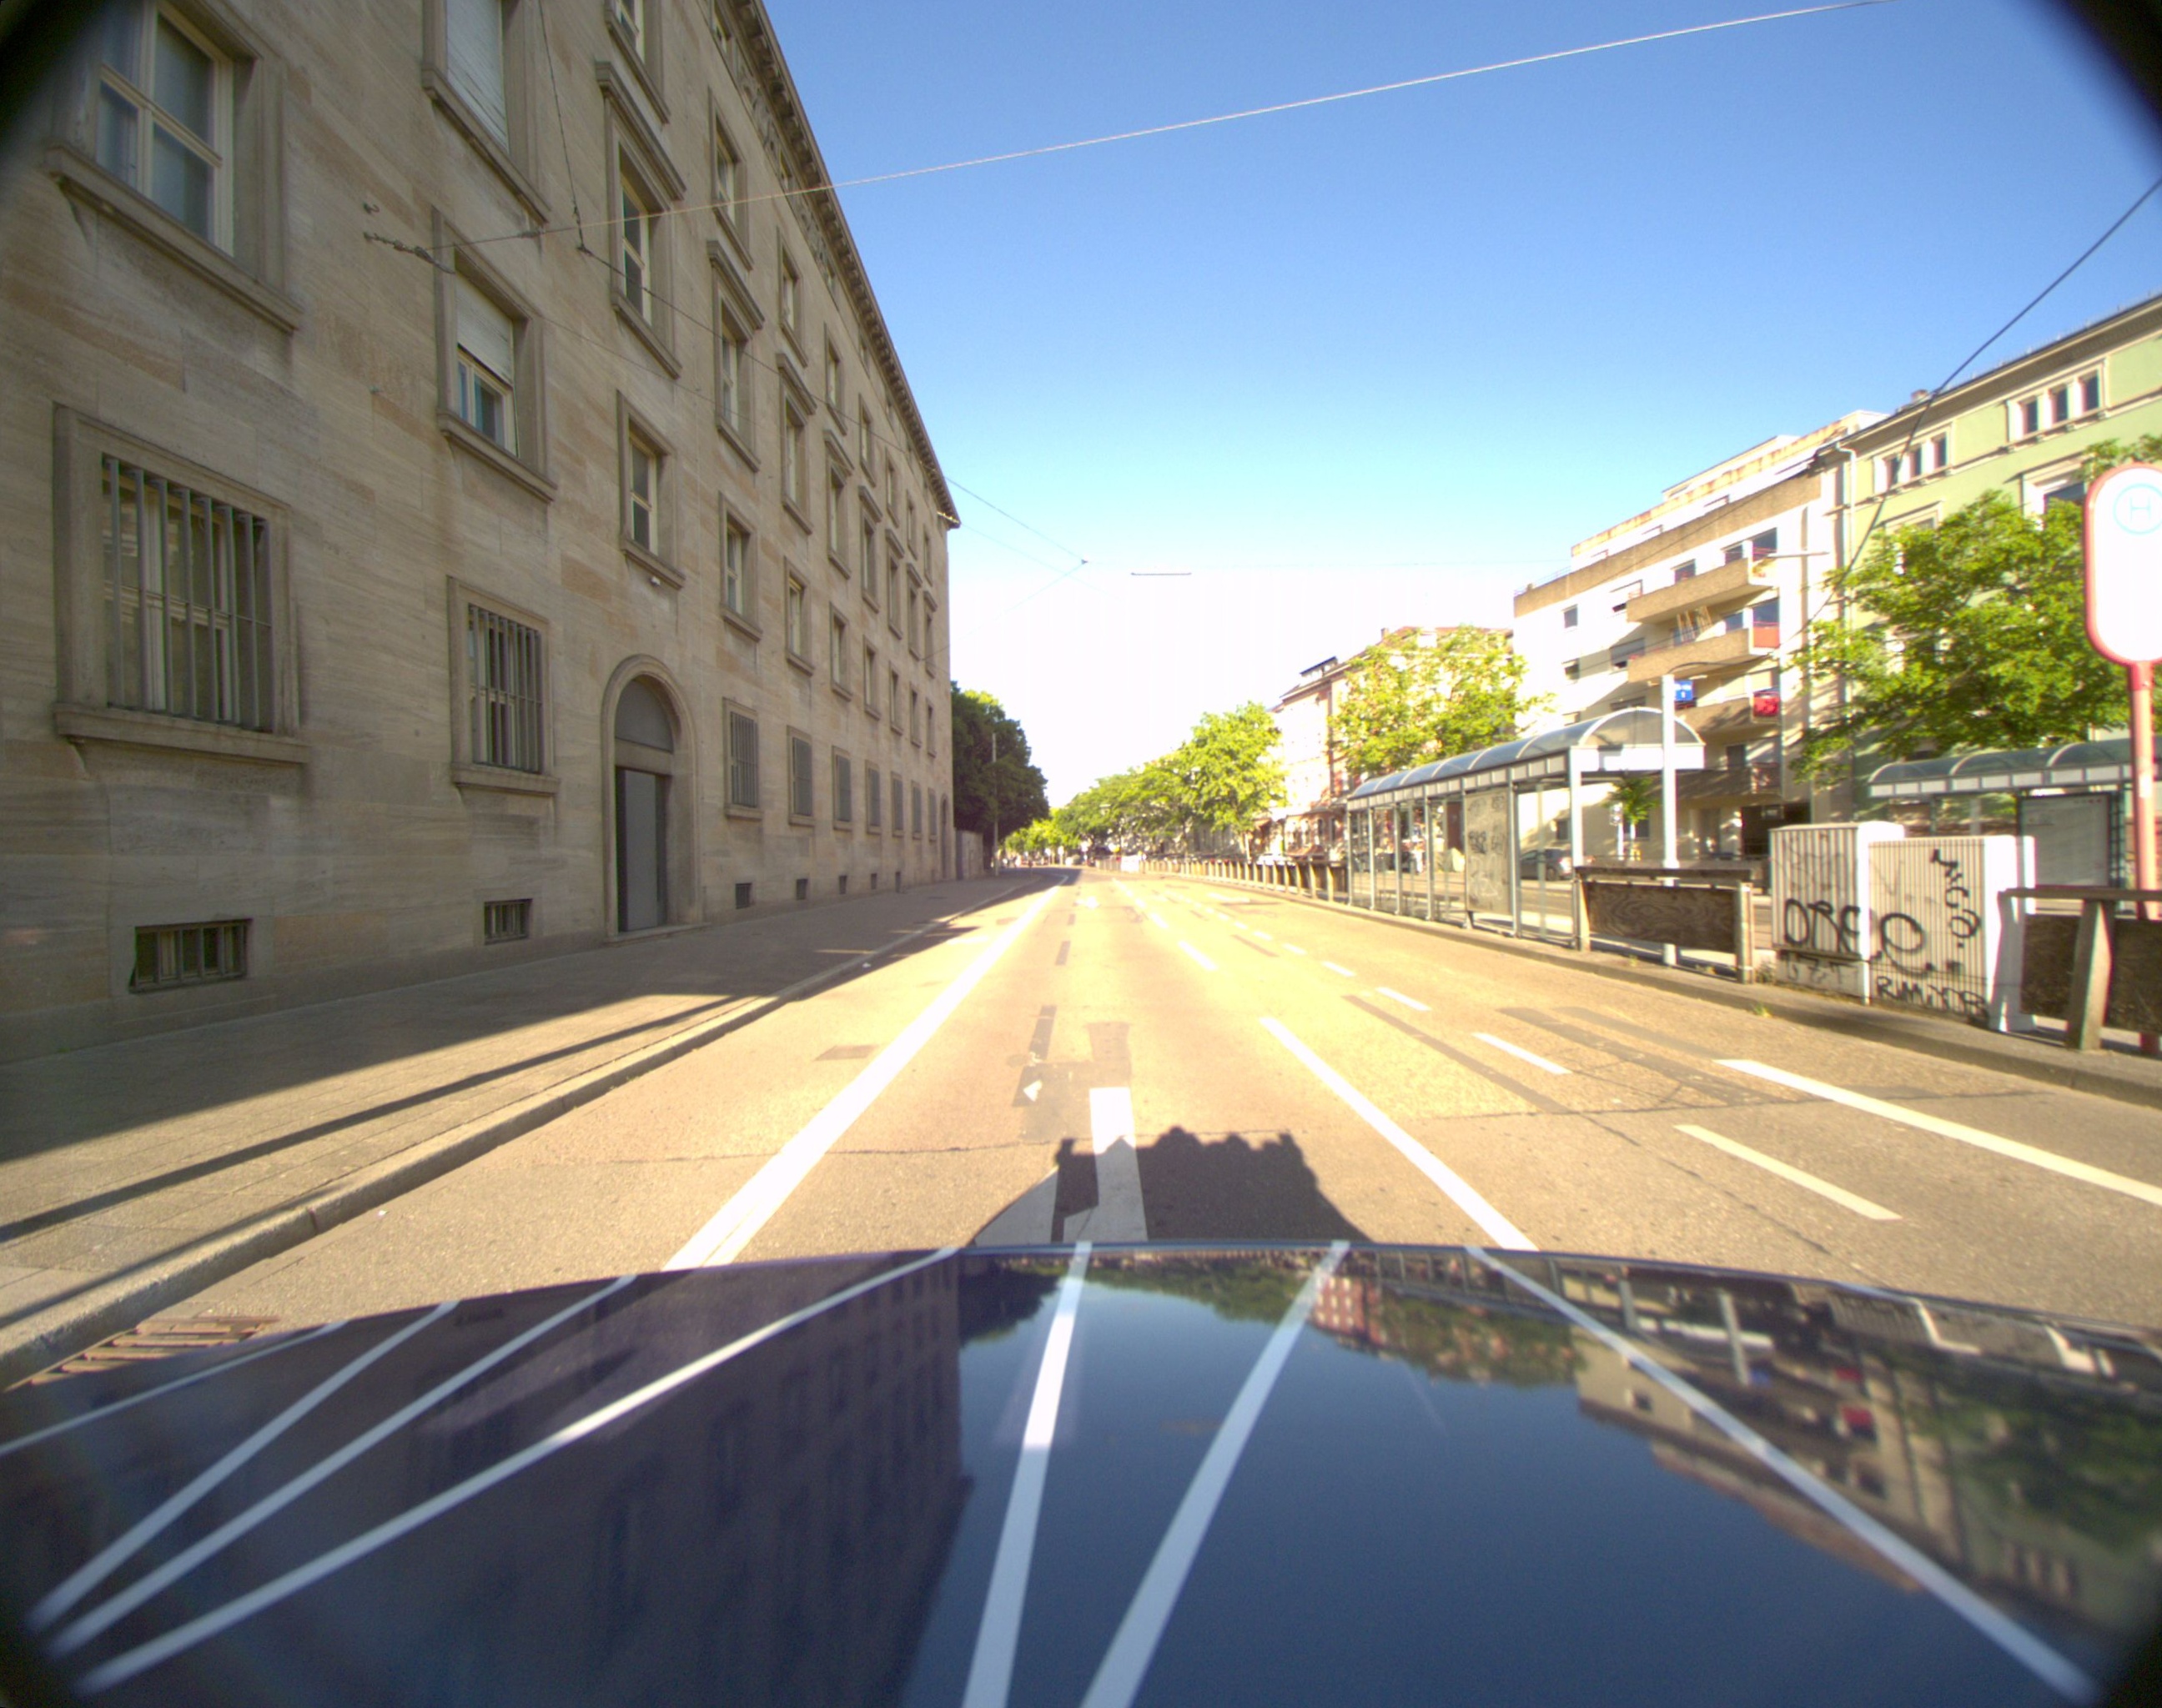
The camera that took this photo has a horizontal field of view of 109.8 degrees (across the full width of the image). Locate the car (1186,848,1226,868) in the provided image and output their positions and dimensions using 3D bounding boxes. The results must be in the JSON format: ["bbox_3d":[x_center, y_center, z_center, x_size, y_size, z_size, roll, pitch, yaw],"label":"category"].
[{"bbox_3d":[12.839,0.413,77.668,4.293,1.713,1.703,-6,3,-43],"label":"car"}]

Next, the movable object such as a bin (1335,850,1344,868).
[{"bbox_3d":[17.838,0.341,52.502,0.380,1.196,0.639,-1,1,0],"label":"movable object such as a bin"}]

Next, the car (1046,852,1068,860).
[{"bbox_3d":[-4.972,0.412,157.983,4.105,1.561,1.670,-4,1,-18],"label":"car"}]

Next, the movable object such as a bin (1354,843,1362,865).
[{"bbox_3d":[18.705,-0.005,51.280,0.380,1.418,0.386,-1,1,0],"label":"movable object such as a bin"}]

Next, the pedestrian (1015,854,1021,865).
[{"bbox_3d":[-9.884,0.794,118.943,0.872,1.710,0.804,-1,1,-3],"label":"pedestrian"}]

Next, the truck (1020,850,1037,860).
[{"bbox_3d":[-13.224,0.202,190.777,3.774,2.409,1.671,-4,1,-13],"label":"truck"}]

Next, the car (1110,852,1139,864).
[{"bbox_3d":[6.271,0.560,109.160,4.208,1.549,1.636,-4,1,-41],"label":"car"}]

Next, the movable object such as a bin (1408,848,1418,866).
[{"bbox_3d":[21.294,0.193,48.754,0.380,1.090,0.552,-1,2,-6],"label":"movable object such as a bin"}]

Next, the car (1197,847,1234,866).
[{"bbox_3d":[13.171,0.254,74.147,1.630,1.607,3.993,-2,2,43],"label":"car"}]

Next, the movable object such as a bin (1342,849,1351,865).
[{"bbox_3d":[18.020,0.220,51.497,0.380,1.062,0.639,-1,1,0],"label":"movable object such as a bin"}]

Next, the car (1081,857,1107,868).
[{"bbox_3d":[2.098,1.363,120.475,4.007,1.478,1.777,-4,2,-44],"label":"car"}]

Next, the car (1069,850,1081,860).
[{"bbox_3d":[-1.236,0.279,146.293,1.673,1.886,3.211,-1,0,-12],"label":"car"}]

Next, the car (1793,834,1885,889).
[{"bbox_3d":[23.195,0.179,23.273,4.524,1.417,1.868,-4,2,-45],"label":"car"}]

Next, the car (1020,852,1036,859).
[{"bbox_3d":[-13.559,0.467,193.734,3.775,1.584,1.670,-4,1,-18],"label":"car"}]

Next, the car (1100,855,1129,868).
[{"bbox_3d":[4.983,1.086,111.892,4.208,1.714,1.780,-5,3,-44],"label":"car"}]

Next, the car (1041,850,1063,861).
[{"bbox_3d":[-6.087,0.295,161.135,4.311,1.940,1.670,-4,1,-18],"label":"car"}]

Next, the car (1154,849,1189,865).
[{"bbox_3d":[10.422,0.331,87.080,3.877,1.645,1.768,-4,2,-41],"label":"car"}]

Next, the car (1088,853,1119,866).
[{"bbox_3d":[3.478,0.790,117.402,4.366,1.704,1.943,-4,2,-35],"label":"car"}]

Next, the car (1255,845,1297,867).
[{"bbox_3d":[16.385,0.173,63.643,1.731,1.513,3.923,-3,1,41],"label":"car"}]

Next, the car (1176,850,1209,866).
[{"bbox_3d":[11.914,0.422,81.117,3.286,1.524,1.703,-6,2,-43],"label":"car"}]

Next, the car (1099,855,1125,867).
[{"bbox_3d":[4.686,1.030,114.926,1.744,1.511,3.772,-1,2,44],"label":"car"}]

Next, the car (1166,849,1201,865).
[{"bbox_3d":[11.431,0.339,84.423,3.829,1.477,1.766,-4,2,-41],"label":"car"}]

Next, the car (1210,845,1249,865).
[{"bbox_3d":[13.970,0.095,71.404,1.630,1.607,3.993,-2,2,43],"label":"car"}]

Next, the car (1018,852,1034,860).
[{"bbox_3d":[-14.280,0.521,197.470,3.775,1.584,1.670,-4,1,-18],"label":"car"}]

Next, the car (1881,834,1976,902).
[{"bbox_3d":[24.144,0.336,21.757,4.524,1.632,1.585,-4,2,-45],"label":"car"}]

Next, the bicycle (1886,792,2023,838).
[{"bbox_3d":[29.147,-1.269,25.453,0.719,1.390,3.007,-1,1,-14],"label":"bicycle"}]

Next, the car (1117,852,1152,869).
[{"bbox_3d":[6.635,0.822,94.220,4.208,1.788,1.781,-5,3,-41],"label":"car"}]

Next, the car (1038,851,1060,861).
[{"bbox_3d":[-6.948,0.403,163.636,4.311,1.940,1.670,-4,1,-18],"label":"car"}]

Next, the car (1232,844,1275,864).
[{"bbox_3d":[15.208,-0.009,66.868,3.929,1.499,1.685,-5,1,-43],"label":"car"}]

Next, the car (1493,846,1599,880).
[{"bbox_3d":[20.846,0.352,34.296,1.711,1.402,4.288,-1,0,-8],"label":"car"}]

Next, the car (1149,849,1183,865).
[{"bbox_3d":[10.077,0.312,89.641,3.877,1.645,1.768,-4,2,-41],"label":"car"}]

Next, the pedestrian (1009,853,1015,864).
[{"bbox_3d":[-10.829,0.642,118.858,0.831,1.710,0.804,-1,1,-6],"label":"pedestrian"}]

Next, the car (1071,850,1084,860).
[{"bbox_3d":[-0.639,0.161,142.056,1.673,1.886,3.211,-1,0,-12],"label":"car"}]
